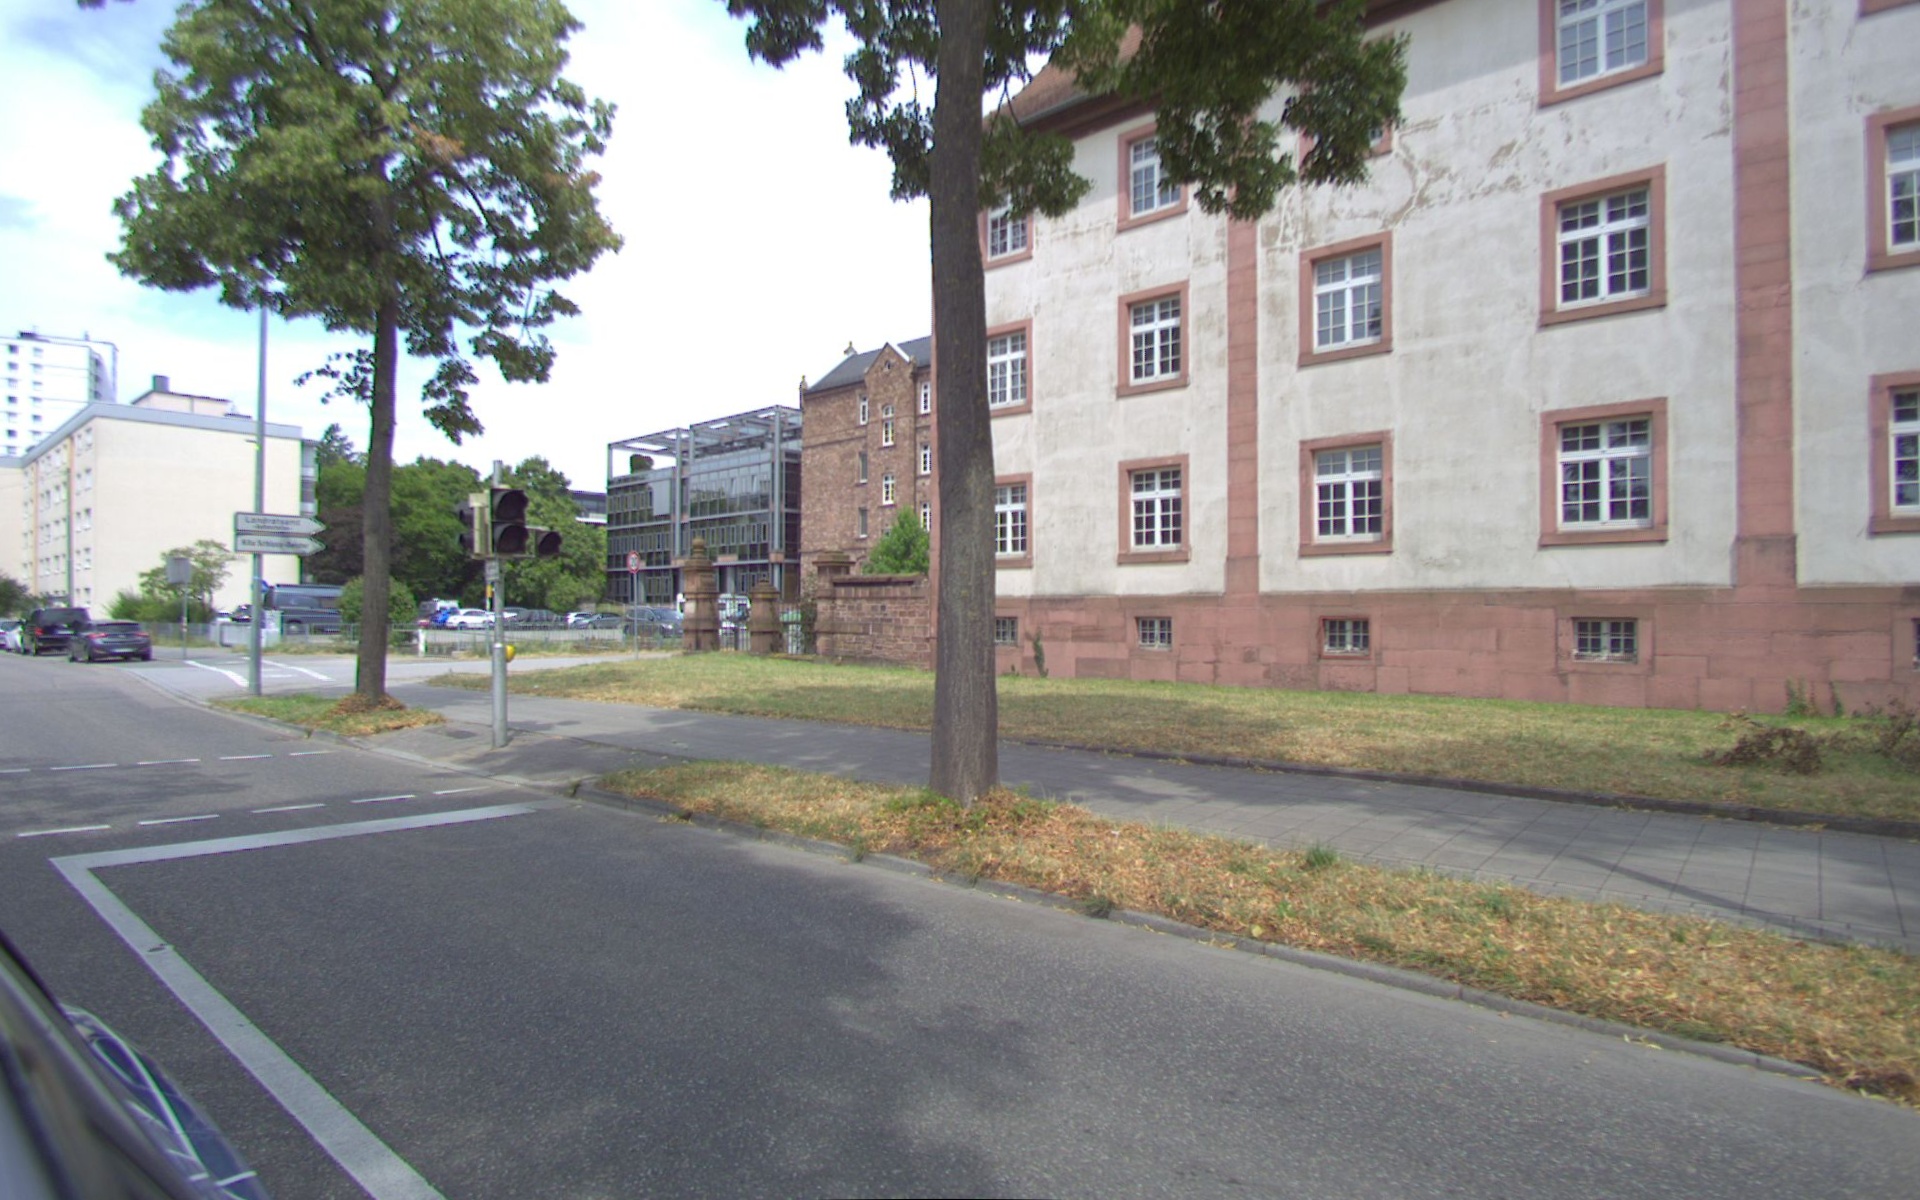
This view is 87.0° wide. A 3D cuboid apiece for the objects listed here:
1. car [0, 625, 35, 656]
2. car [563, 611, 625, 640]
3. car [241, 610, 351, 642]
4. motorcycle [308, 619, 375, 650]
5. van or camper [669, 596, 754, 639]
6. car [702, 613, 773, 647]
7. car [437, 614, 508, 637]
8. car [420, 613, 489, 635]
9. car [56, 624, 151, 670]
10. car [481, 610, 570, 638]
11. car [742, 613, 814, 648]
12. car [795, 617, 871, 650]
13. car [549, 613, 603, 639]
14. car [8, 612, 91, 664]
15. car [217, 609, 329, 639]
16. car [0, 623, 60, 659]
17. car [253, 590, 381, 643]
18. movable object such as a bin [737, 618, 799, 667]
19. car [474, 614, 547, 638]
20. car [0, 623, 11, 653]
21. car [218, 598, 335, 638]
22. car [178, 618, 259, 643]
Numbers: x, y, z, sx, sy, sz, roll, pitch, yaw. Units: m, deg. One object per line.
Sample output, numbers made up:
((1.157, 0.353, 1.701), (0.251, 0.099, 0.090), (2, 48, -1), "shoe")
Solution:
((-46.719, 1.955, 49.397), (4.258, 1.468, 1.671), (-1, -2, 39), "car")
((-28.909, 2.042, 80.020), (1.969, 2.153, 4.175), (-1, -3, 39), "car")
((-35.981, 1.416, 54.920), (2.000, 1.630, 4.645), (-2, -2, 42), "car")
((-23.908, 1.328, 39.164), (0.725, 1.151, 2.066), (-1, -3, 45), "motorcycle")
((-16.676, 1.216, 68.083), (2.579, 2.723, 4.997), (-1, -2, 39), "van or camper")
((-14.626, 1.982, 66.729), (1.726, 2.153, 4.314), (-1, -3, 42), "car")
((-33.283, 1.704, 69.195), (1.969, 1.494, 3.946), (0, -1, 40), "car")
((-35.335, 1.694, 70.776), (1.857, 1.494, 3.946), (0, -1, 40), "car")
((-30.231, 1.620, 35.685), (4.293, 1.484, 1.804), (-1, 0, 39), "car")
((-27.603, 1.527, 64.348), (2.330, 1.677, 4.641), (-1, -3, 42), "car")
((-11.707, 1.978, 65.300), (1.804, 2.153, 4.314), (-1, -3, 42), "car")
((-7.743, 2.057, 62.134), (1.875, 1.952, 4.457), (-1, -3, 42), "car")
((-31.263, 2.111, 82.446), (3.670, 2.029, 1.972), (3, -3, -44), "car")
((-38.124, 1.573, 42.339), (4.840, 2.019, 1.929), (-2, -1, 40), "car")
((-39.781, 1.394, 58.700), (2.001, 1.686, 5.029), (-2, -2, 43), "car")
((-42.252, 1.855, 45.842), (3.760, 1.541, 1.638), (-2, -1, 39), "car")
((-33.831, 0.834, 53.355), (2.354, 2.571, 5.254), (-1, 0, 42), "car")
((-5.986, 1.309, 31.525), (1.570, 1.479, 1.188), (-1, -2, 42), "movable object such as a bin")
((-29.361, 1.697, 66.179), (1.616, 1.494, 4.112), (0, -1, 40), "car")
((-51.212, 1.985, 53.099), (4.046, 1.481, 1.670), (-1, -1, 41), "car")
((-38.174, 1.055, 56.645), (2.228, 2.166, 5.029), (-2, -3, 43), "car")
((-47.437, 1.922, 64.794), (3.940, 1.494, 2.002), (1, -1, -44), "car")
